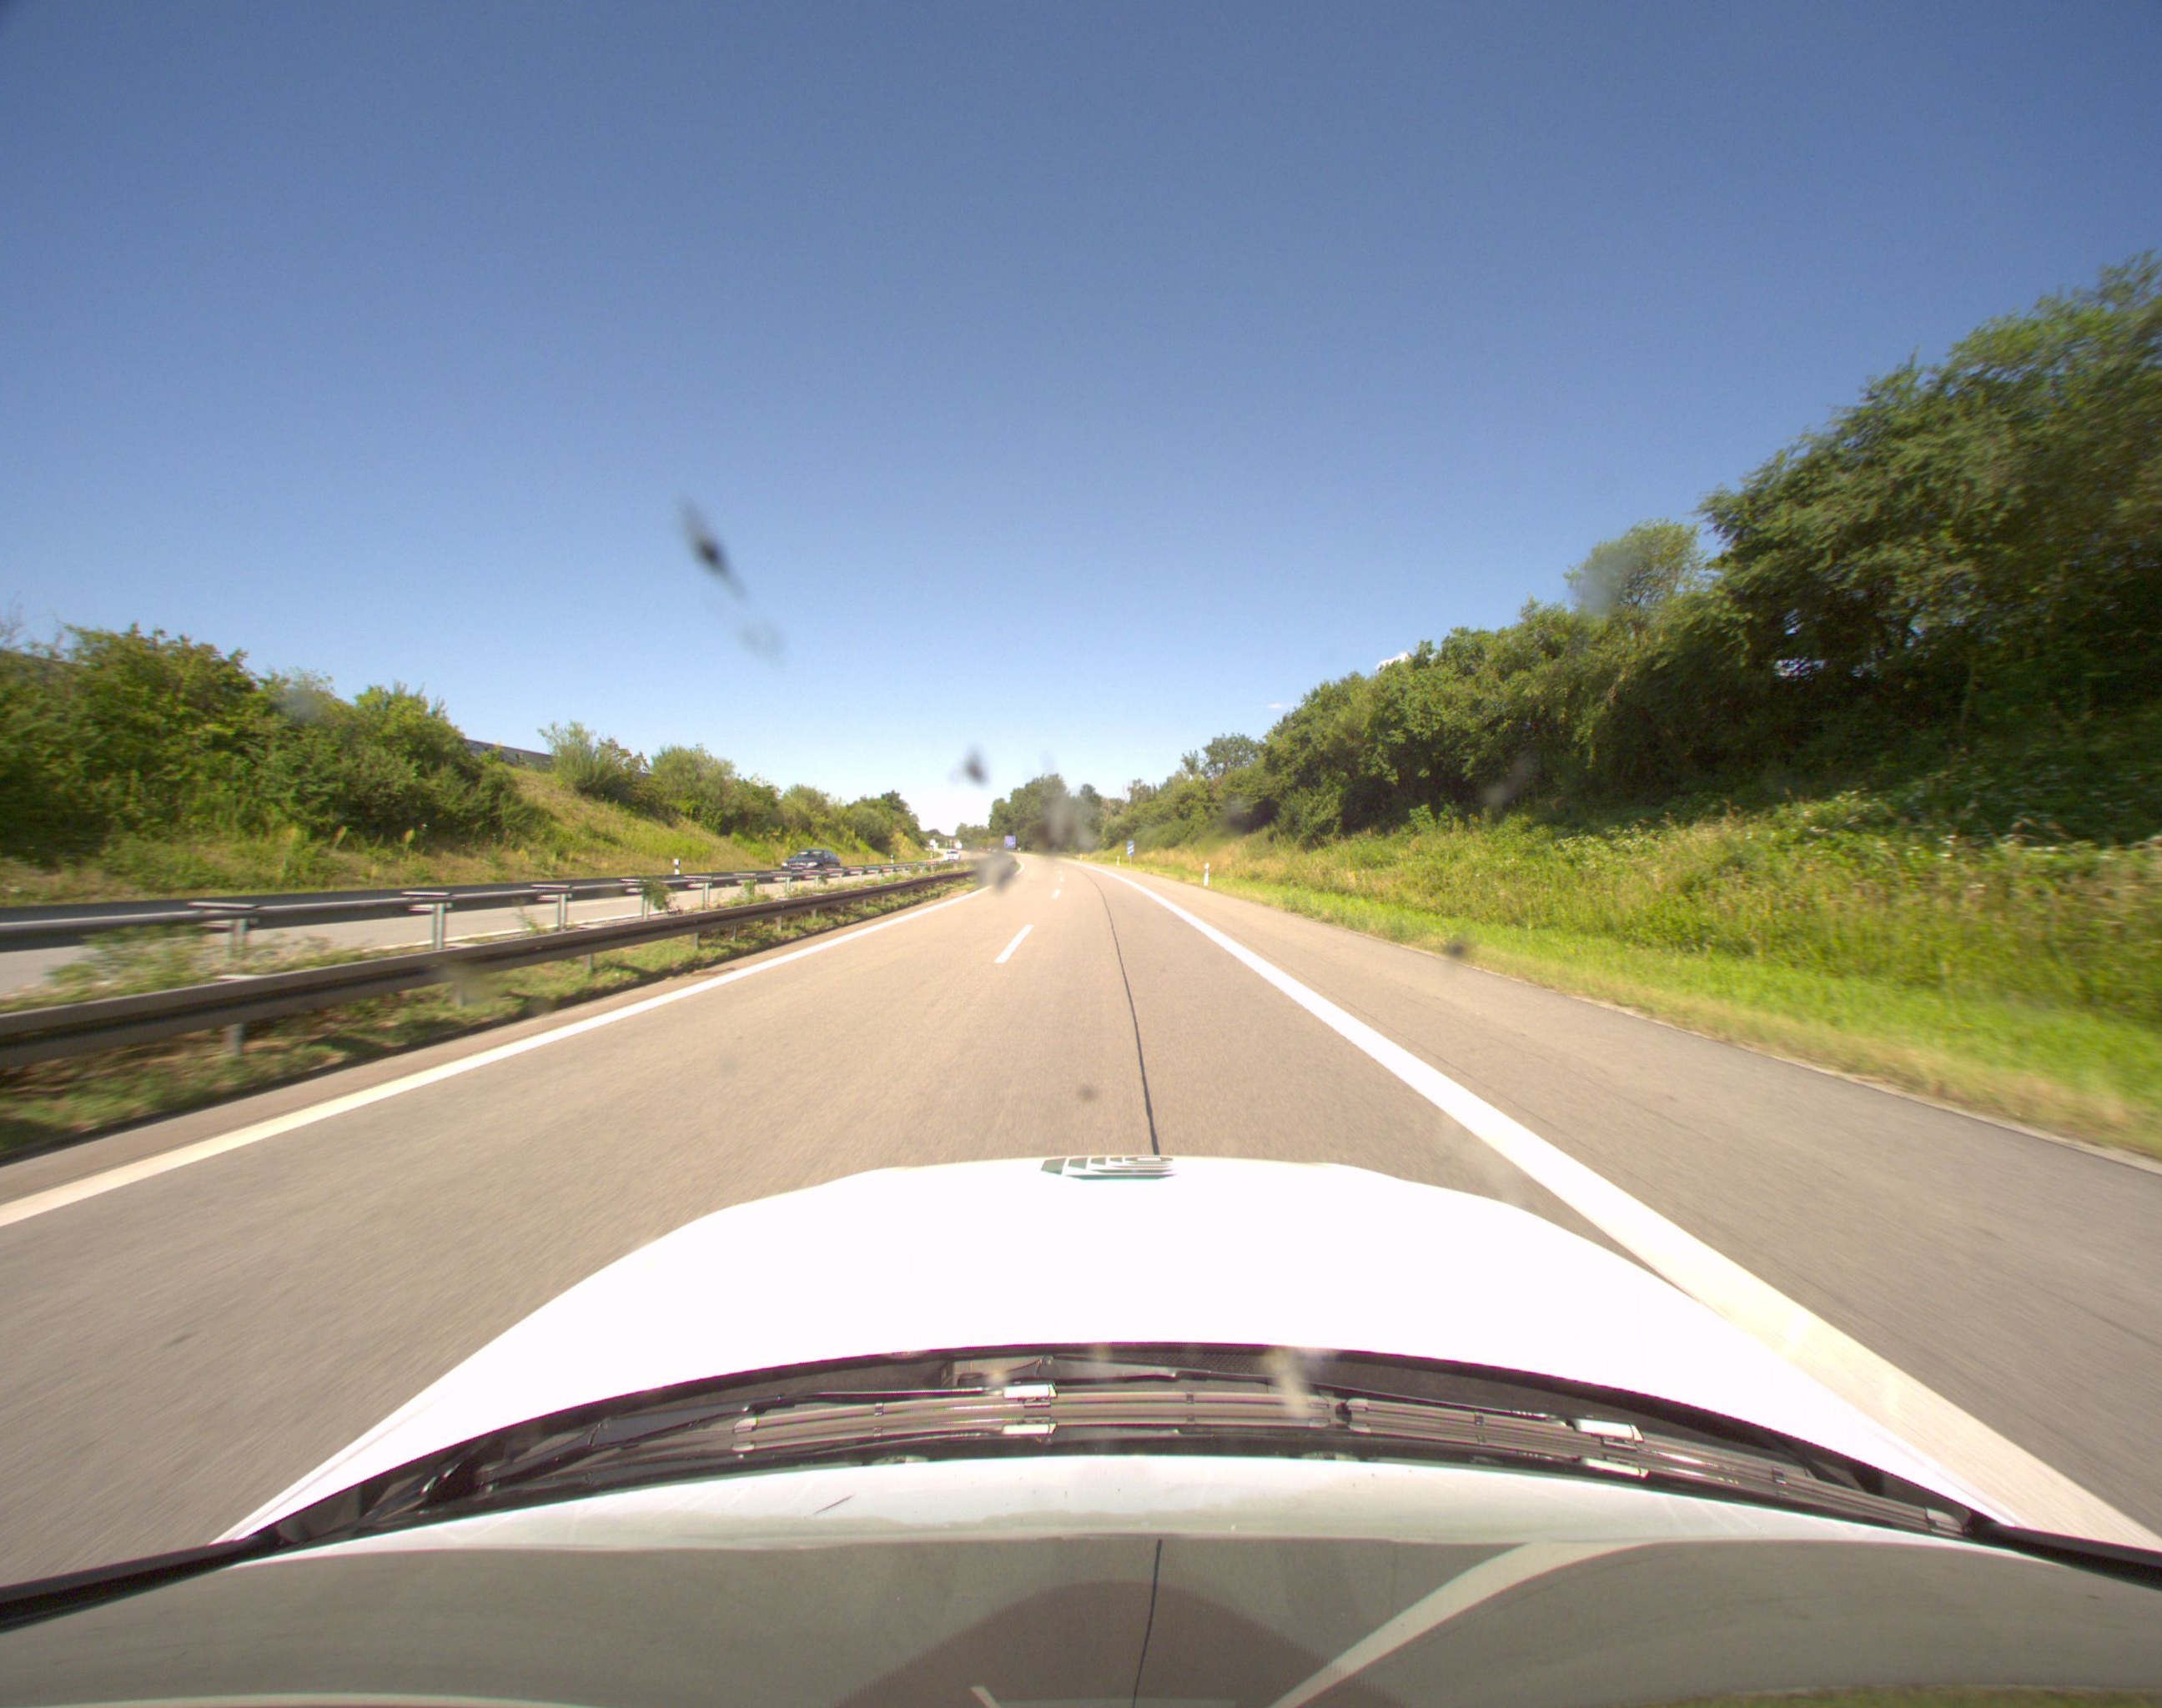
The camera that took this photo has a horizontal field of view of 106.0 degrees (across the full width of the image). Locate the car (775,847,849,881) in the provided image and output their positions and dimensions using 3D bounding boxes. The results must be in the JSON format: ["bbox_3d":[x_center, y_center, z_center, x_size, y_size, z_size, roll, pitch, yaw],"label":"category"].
[{"bbox_3d":[-13.469,0.492,41.115,1.960,1.564,5.174,-1,0,1],"label":"car"}]

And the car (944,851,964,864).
[{"bbox_3d":[-15.798,0.410,101.367,1.895,1.422,4.395,-1,1,-2],"label":"car"}]

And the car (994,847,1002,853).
[{"bbox_3d":[-22.367,-1.063,219.335,2.060,1.625,3.989,0,-2,-8],"label":"car"}]
